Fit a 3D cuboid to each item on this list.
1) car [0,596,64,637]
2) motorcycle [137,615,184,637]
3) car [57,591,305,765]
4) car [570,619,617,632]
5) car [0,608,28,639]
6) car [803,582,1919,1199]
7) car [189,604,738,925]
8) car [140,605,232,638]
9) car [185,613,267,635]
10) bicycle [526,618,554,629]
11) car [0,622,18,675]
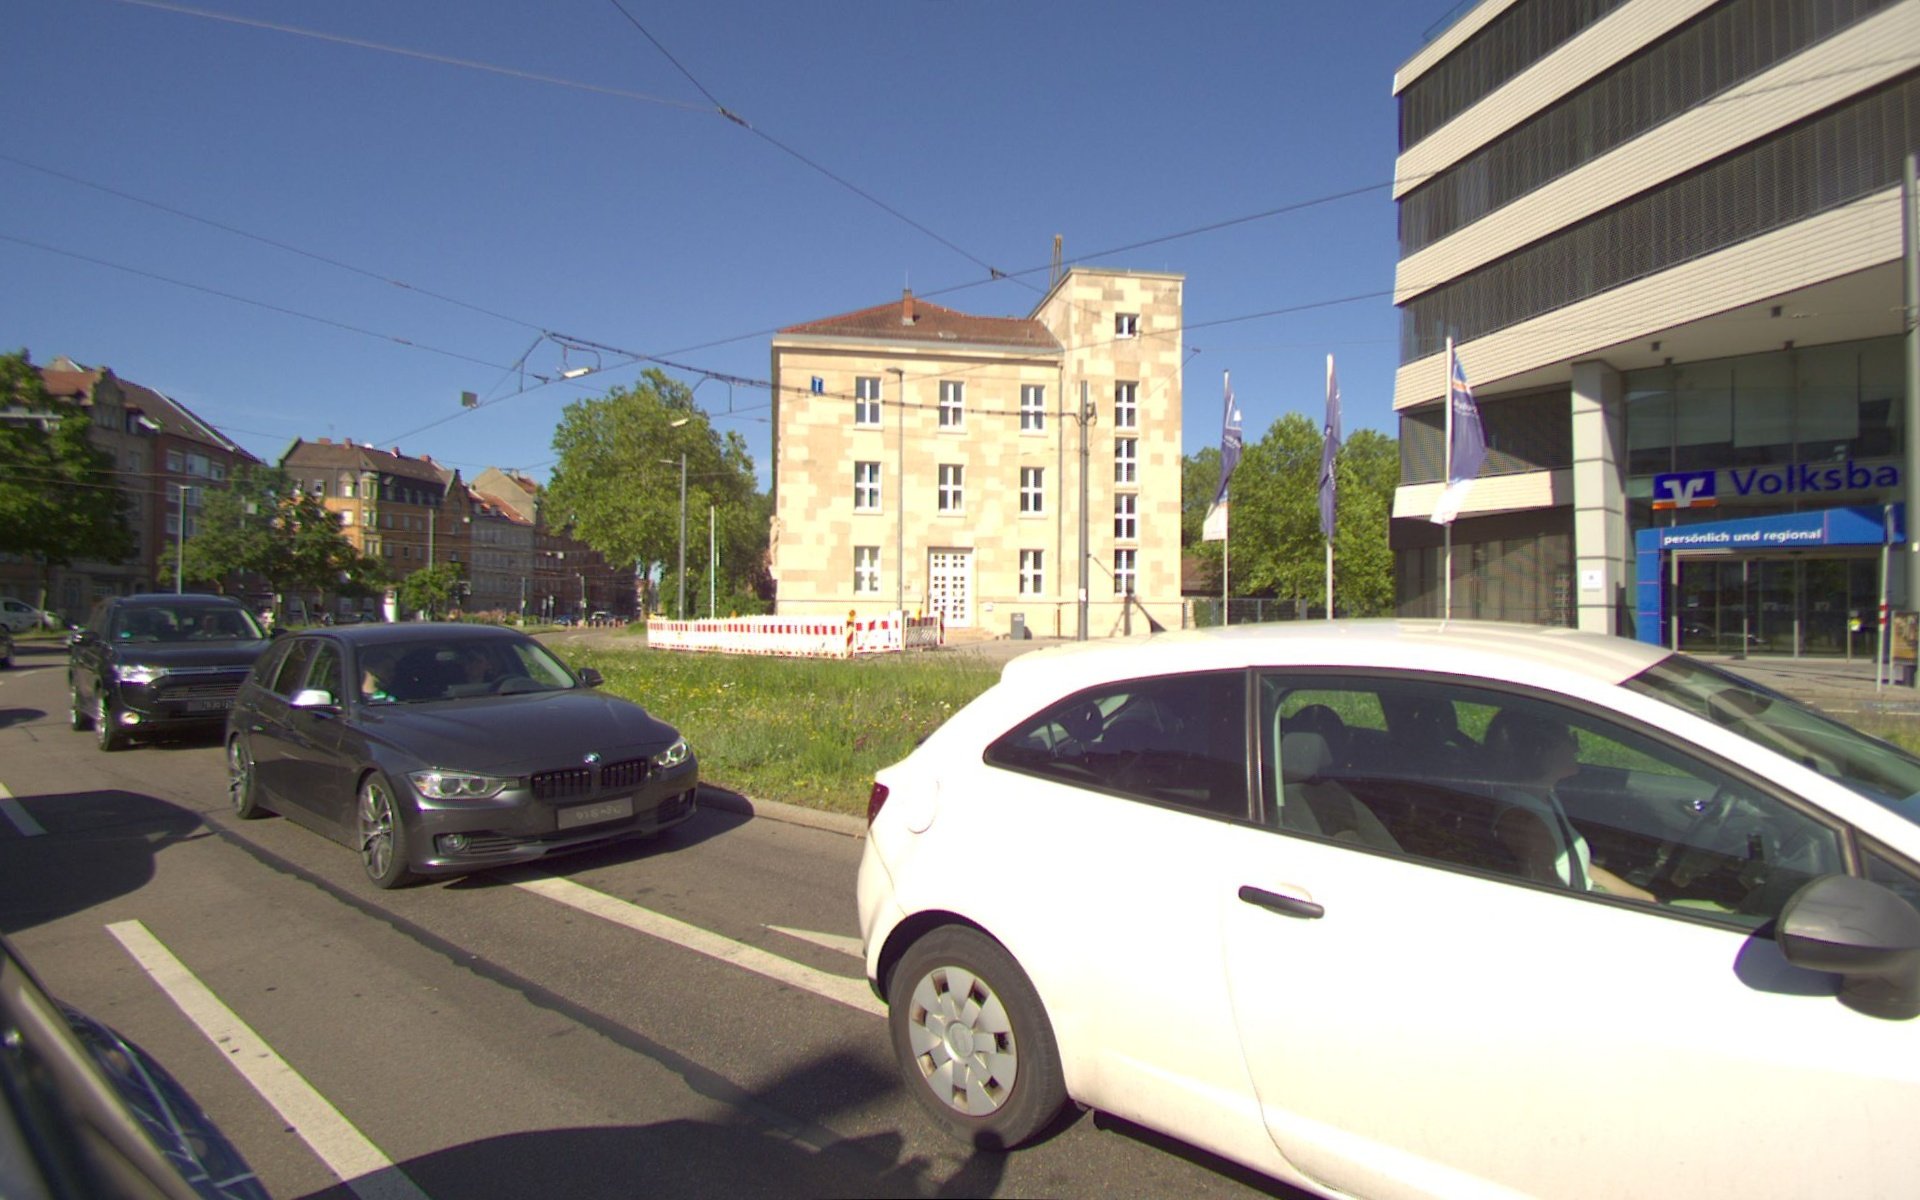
[{"bbox_3d":[-50.241,0.810,52.765,5.105,2.028,2.104,3,-2,-40],"label":"car"},{"bbox_3d":[-53.218,1.755,67.396,0.851,1.431,2.238,0,-3,30],"label":"motorcycle"},{"bbox_3d":[-9.493,0.791,12.170,1.815,1.695,4.646,0,-1,-45],"label":"car"},{"bbox_3d":[-43.310,2.985,119.700,4.881,1.464,1.839,1,-2,-9],"label":"car"},{"bbox_3d":[-49.027,1.106,50.236,3.970,1.490,1.814,4,-2,-44],"label":"car"},{"bbox_3d":[1.498,0.705,2.379,3.780,1.434,1.615,-1,1,41],"label":"car"},{"bbox_3d":[-3.578,0.800,6.841,4.465,1.434,1.716,-1,1,41],"label":"car"},{"bbox_3d":[-53.763,1.532,70.349,2.022,2.091,4.809,-1,-3,45],"label":"car"},{"bbox_3d":[-55.657,1.830,76.795,4.807,1.446,2.022,4,-3,-44],"label":"car"},{"bbox_3d":[-61.603,3.441,148.610,1.940,1.427,6.837,2,-2,-7],"label":"bicycle"},{"bbox_3d":[-26.612,1.290,26.545,1.858,1.438,4.389,1,-1,-30],"label":"car"}]
